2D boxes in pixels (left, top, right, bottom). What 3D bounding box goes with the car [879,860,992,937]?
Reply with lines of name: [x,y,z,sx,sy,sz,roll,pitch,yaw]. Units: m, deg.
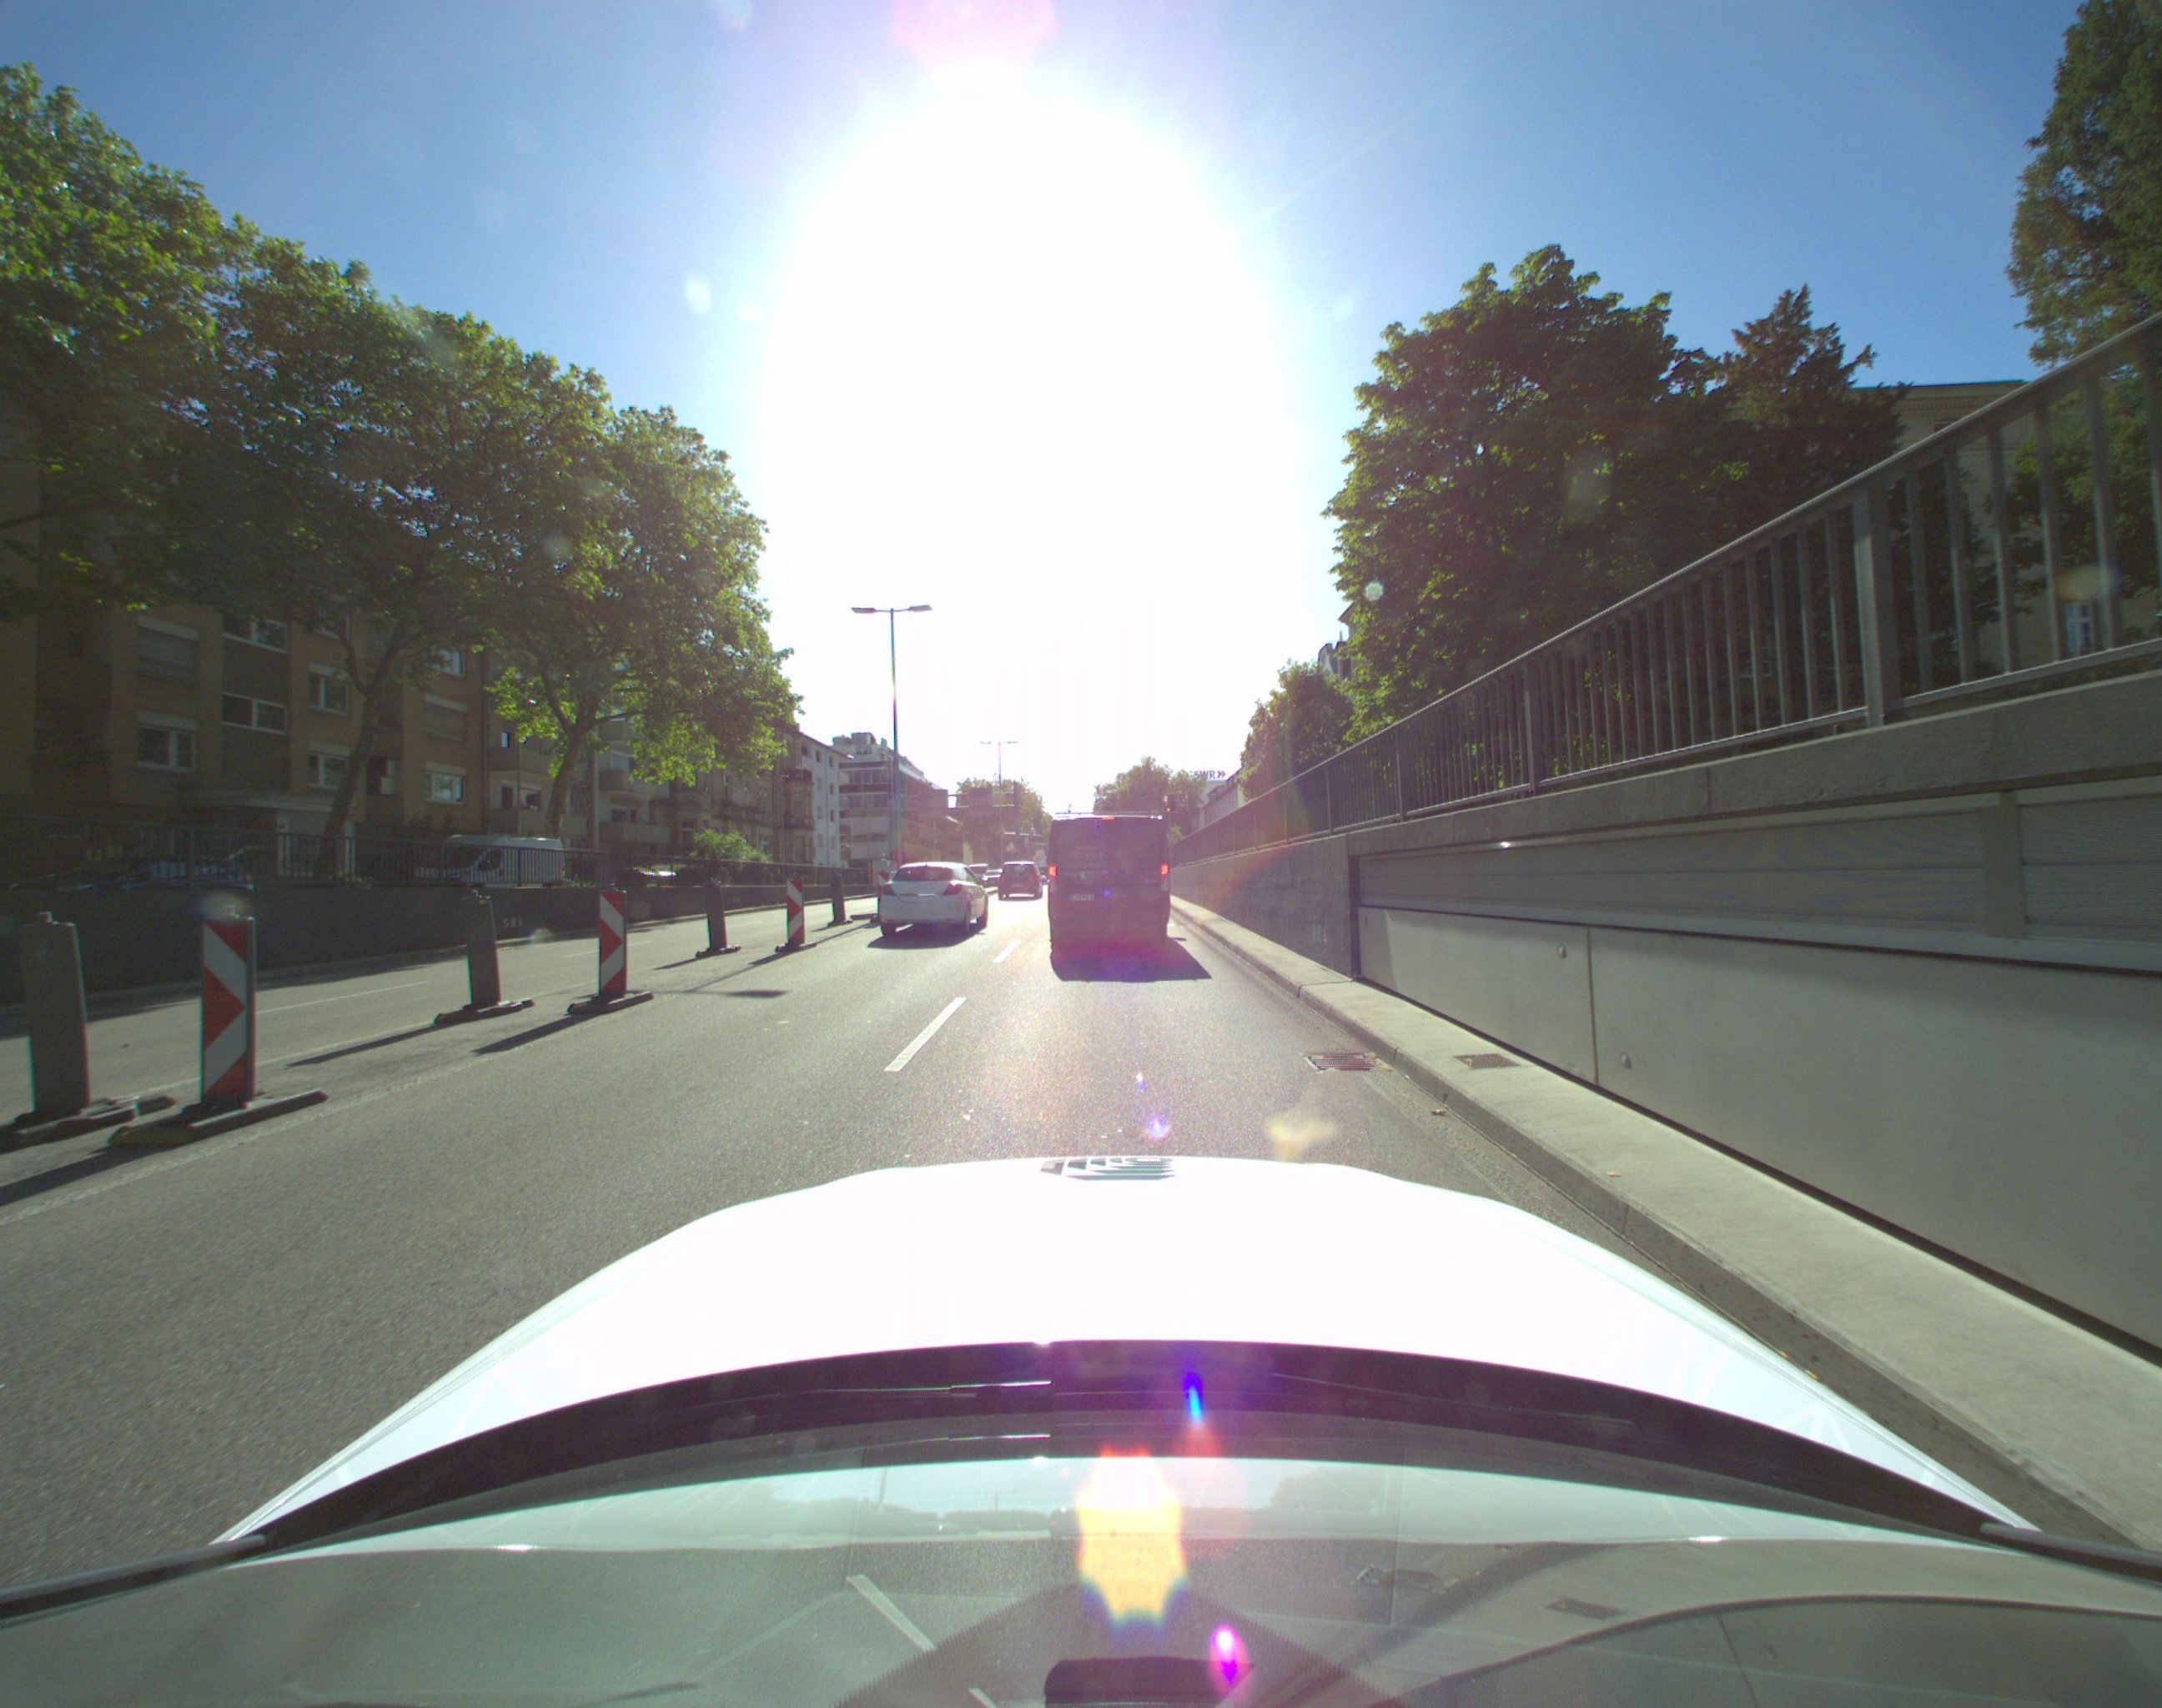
car: [-2.921,0.839,17.118,1.613,1.403,3.852,0,0,1]

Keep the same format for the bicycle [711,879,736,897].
bicycle: [-19.268,1.839,43.934,0.654,0.927,1.757,0,-1,-2]

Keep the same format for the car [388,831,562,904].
car: [-21.424,0.498,29.179,1.986,2.359,5.421,0,-1,2]

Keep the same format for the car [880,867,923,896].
car: [-10.252,1.546,46.719,1.533,1.465,3.717,-4,-1,0]

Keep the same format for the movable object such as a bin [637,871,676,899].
movable object such as a bin: [-22.269,1.613,42.747,1.274,1.402,1.325,0,-1,1]

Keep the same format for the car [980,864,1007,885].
car: [-7.000,1.625,65.450,1.604,1.457,3.608,-5,-1,0]

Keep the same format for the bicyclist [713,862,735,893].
bicyclist: [-19.274,1.283,44.002,0.773,1.633,1.022,0,-1,-2]

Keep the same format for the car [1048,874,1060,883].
car: [-4.896,4.393,146.607,1.929,1.555,3.924,0,-1,1]

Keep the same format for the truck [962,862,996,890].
truck: [-9.868,2.134,79.404,2.220,2.528,6.131,-3,-2,2]

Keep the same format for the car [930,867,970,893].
car: [-7.667,1.512,47.935,1.533,1.300,3.928,-4,-1,0]

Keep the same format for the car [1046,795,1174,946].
car: [0.510,0.308,15.193,2.023,2.403,3.973,-1,-1,1]

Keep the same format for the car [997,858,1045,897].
car: [-2.407,0.933,33.276,1.683,1.483,3.319,0,0,1]

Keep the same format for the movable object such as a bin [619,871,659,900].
movable object such as a bin: [-22.444,1.585,41.379,1.274,1.402,1.301,0,-1,1]

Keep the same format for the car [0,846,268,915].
car: [-21.748,0.588,18.645,1.986,1.389,4.172,0,-1,1]
